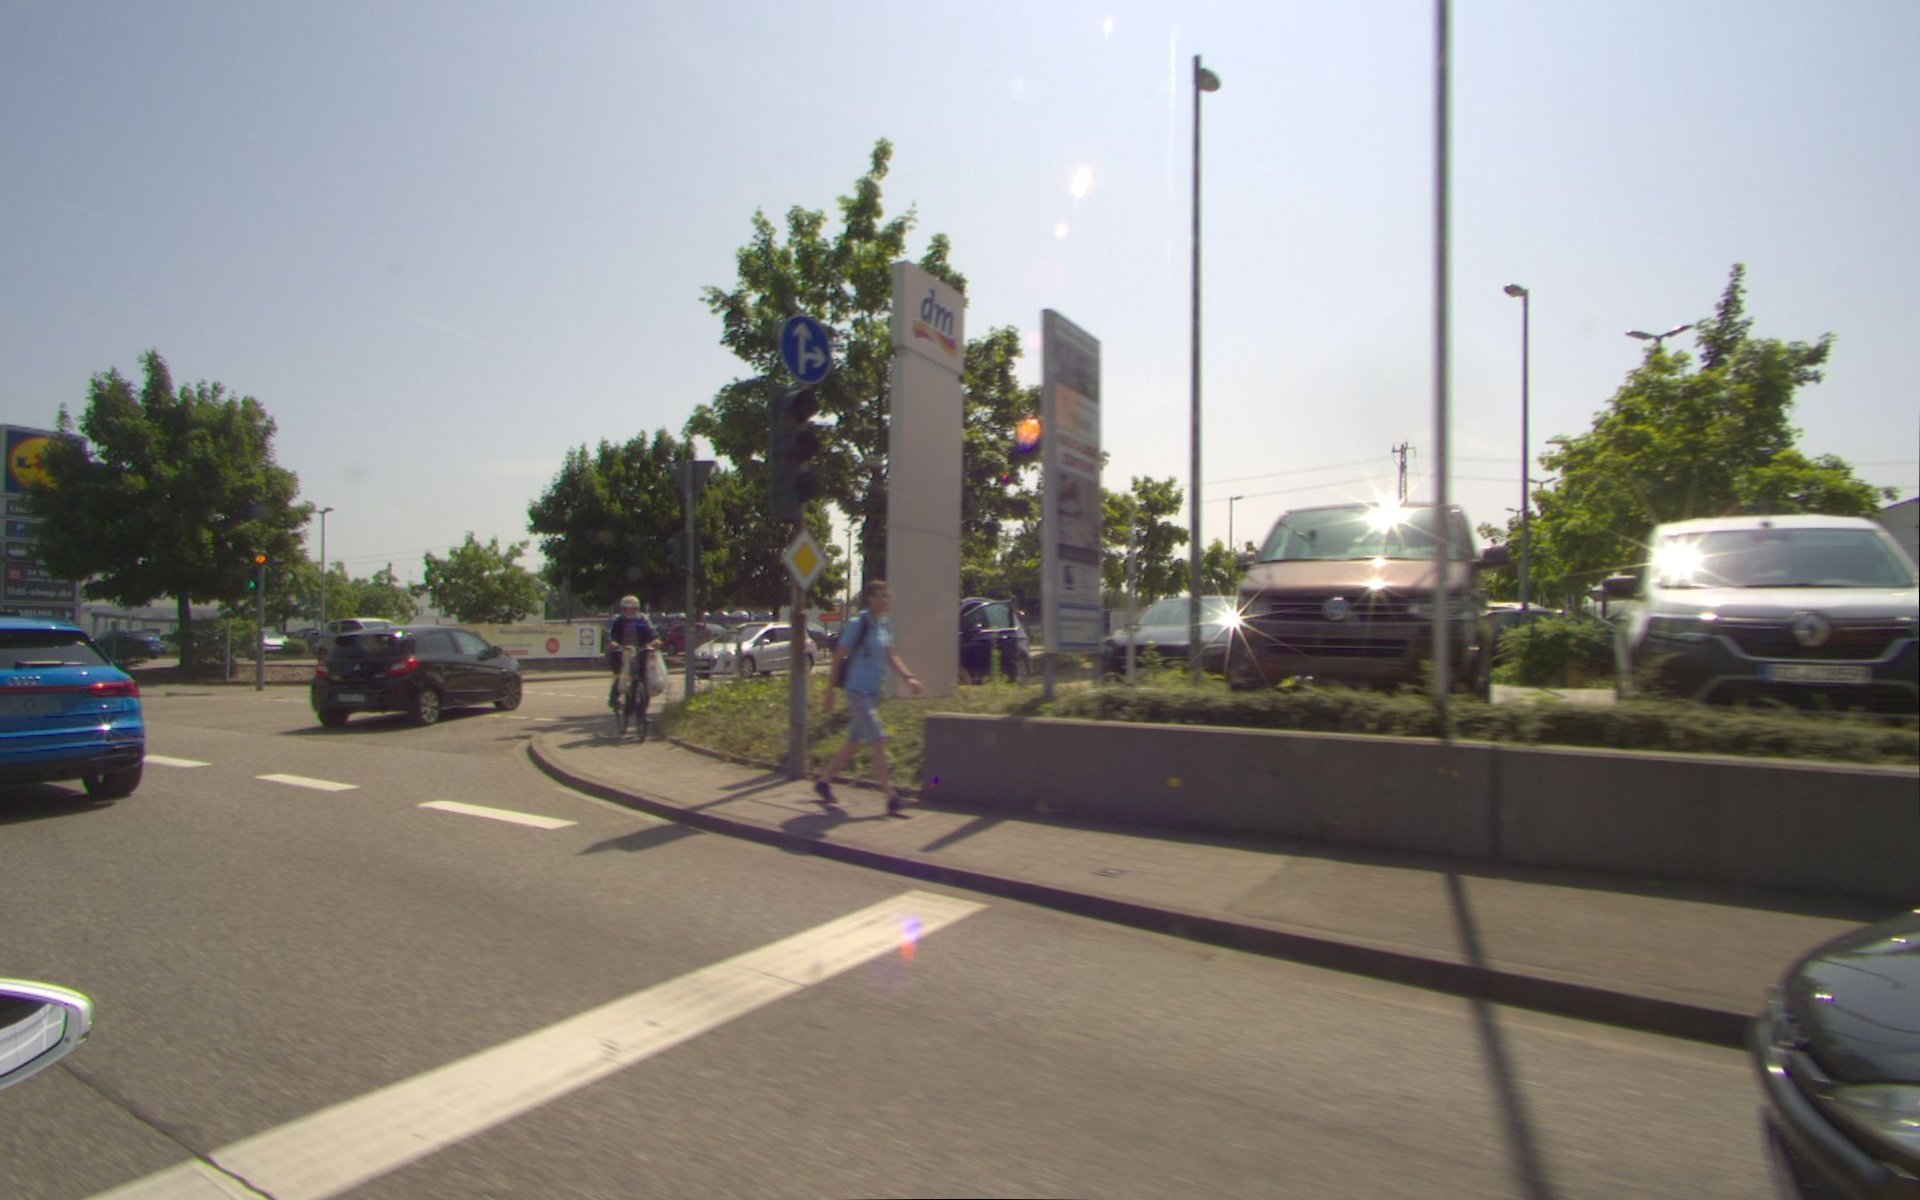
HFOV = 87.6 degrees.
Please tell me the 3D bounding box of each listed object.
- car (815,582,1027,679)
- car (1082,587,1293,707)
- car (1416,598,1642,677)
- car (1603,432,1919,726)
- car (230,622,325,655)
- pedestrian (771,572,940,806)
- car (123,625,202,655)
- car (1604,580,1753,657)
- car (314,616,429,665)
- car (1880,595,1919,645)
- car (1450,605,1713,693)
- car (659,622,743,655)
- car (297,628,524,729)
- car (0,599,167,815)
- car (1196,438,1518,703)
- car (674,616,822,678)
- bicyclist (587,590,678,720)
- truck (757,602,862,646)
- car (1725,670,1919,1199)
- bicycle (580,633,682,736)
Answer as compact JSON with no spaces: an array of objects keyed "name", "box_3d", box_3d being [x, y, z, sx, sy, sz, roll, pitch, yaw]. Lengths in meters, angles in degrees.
[{"name":"car","box_3d":[-0.490,0.501,16.268,1.833,1.356,3.988,-1,-2,25]},{"name":"car","box_3d":[3.189,0.578,13.481,1.730,1.356,3.867,-1,-1,30]},{"name":"car","box_3d":[12.783,0.857,22.754,1.651,1.620,4.166,1,-2,-34]},{"name":"car","box_3d":[6.386,0.090,7.963,1.971,1.719,4.409,-2,-6,31]},{"name":"car","box_3d":[-30.071,1.701,44.093,4.015,1.412,1.735,-2,-2,26]},{"name":"pedestrian","box_3d":[-0.793,0.667,7.665,0.991,1.645,0.827,-2,-4,31]},{"name":"car","box_3d":[-38.908,1.947,48.865,3.657,1.412,1.621,-1,-1,26]},{"name":"car","box_3d":[22.374,0.604,31.276,1.651,2.220,3.410,3,-2,-32]},{"name":"car","box_3d":[-18.530,1.238,31.531,3.477,1.458,1.419,0,1,26]},{"name":"car","box_3d":[31.569,0.639,31.323,3.951,1.572,1.986,-1,-2,39]},{"name":"car","box_3d":[11.837,0.885,19.215,1.981,1.505,3.960,1,-1,-45]},{"name":"car","box_3d":[-11.797,1.753,45.630,3.368,1.467,1.703,-1,-1,21]},{"name":"car","box_3d":[-8.537,1.158,15.900,1.589,1.419,3.433,0,-2,3]},{"name":"car","box_3d":[-8.886,0.831,8.756,4.288,1.613,1.805,-1,-1,33]},{"name":"car","box_3d":[3.972,0.013,9.406,2.150,1.819,4.694,-1,-5,30]},{"name":"car","box_3d":[-6.011,1.302,28.876,1.781,1.639,4.242,-1,-1,31]},{"name":"bicyclist","box_3d":[-3.971,0.672,12.127,0.767,1.482,1.084,3,-4,-33]},{"name":"truck","box_3d":[-13.997,2.268,92.632,9.878,3.887,2.848,-1,-1,29]},{"name":"car","box_3d":[3.309,0.851,1.327,3.448,1.374,1.635,-1,-1,31]},{"name":"bicycle","box_3d":[-4.022,1.002,12.162,0.749,1.146,1.898,2,-4,-31]}]
